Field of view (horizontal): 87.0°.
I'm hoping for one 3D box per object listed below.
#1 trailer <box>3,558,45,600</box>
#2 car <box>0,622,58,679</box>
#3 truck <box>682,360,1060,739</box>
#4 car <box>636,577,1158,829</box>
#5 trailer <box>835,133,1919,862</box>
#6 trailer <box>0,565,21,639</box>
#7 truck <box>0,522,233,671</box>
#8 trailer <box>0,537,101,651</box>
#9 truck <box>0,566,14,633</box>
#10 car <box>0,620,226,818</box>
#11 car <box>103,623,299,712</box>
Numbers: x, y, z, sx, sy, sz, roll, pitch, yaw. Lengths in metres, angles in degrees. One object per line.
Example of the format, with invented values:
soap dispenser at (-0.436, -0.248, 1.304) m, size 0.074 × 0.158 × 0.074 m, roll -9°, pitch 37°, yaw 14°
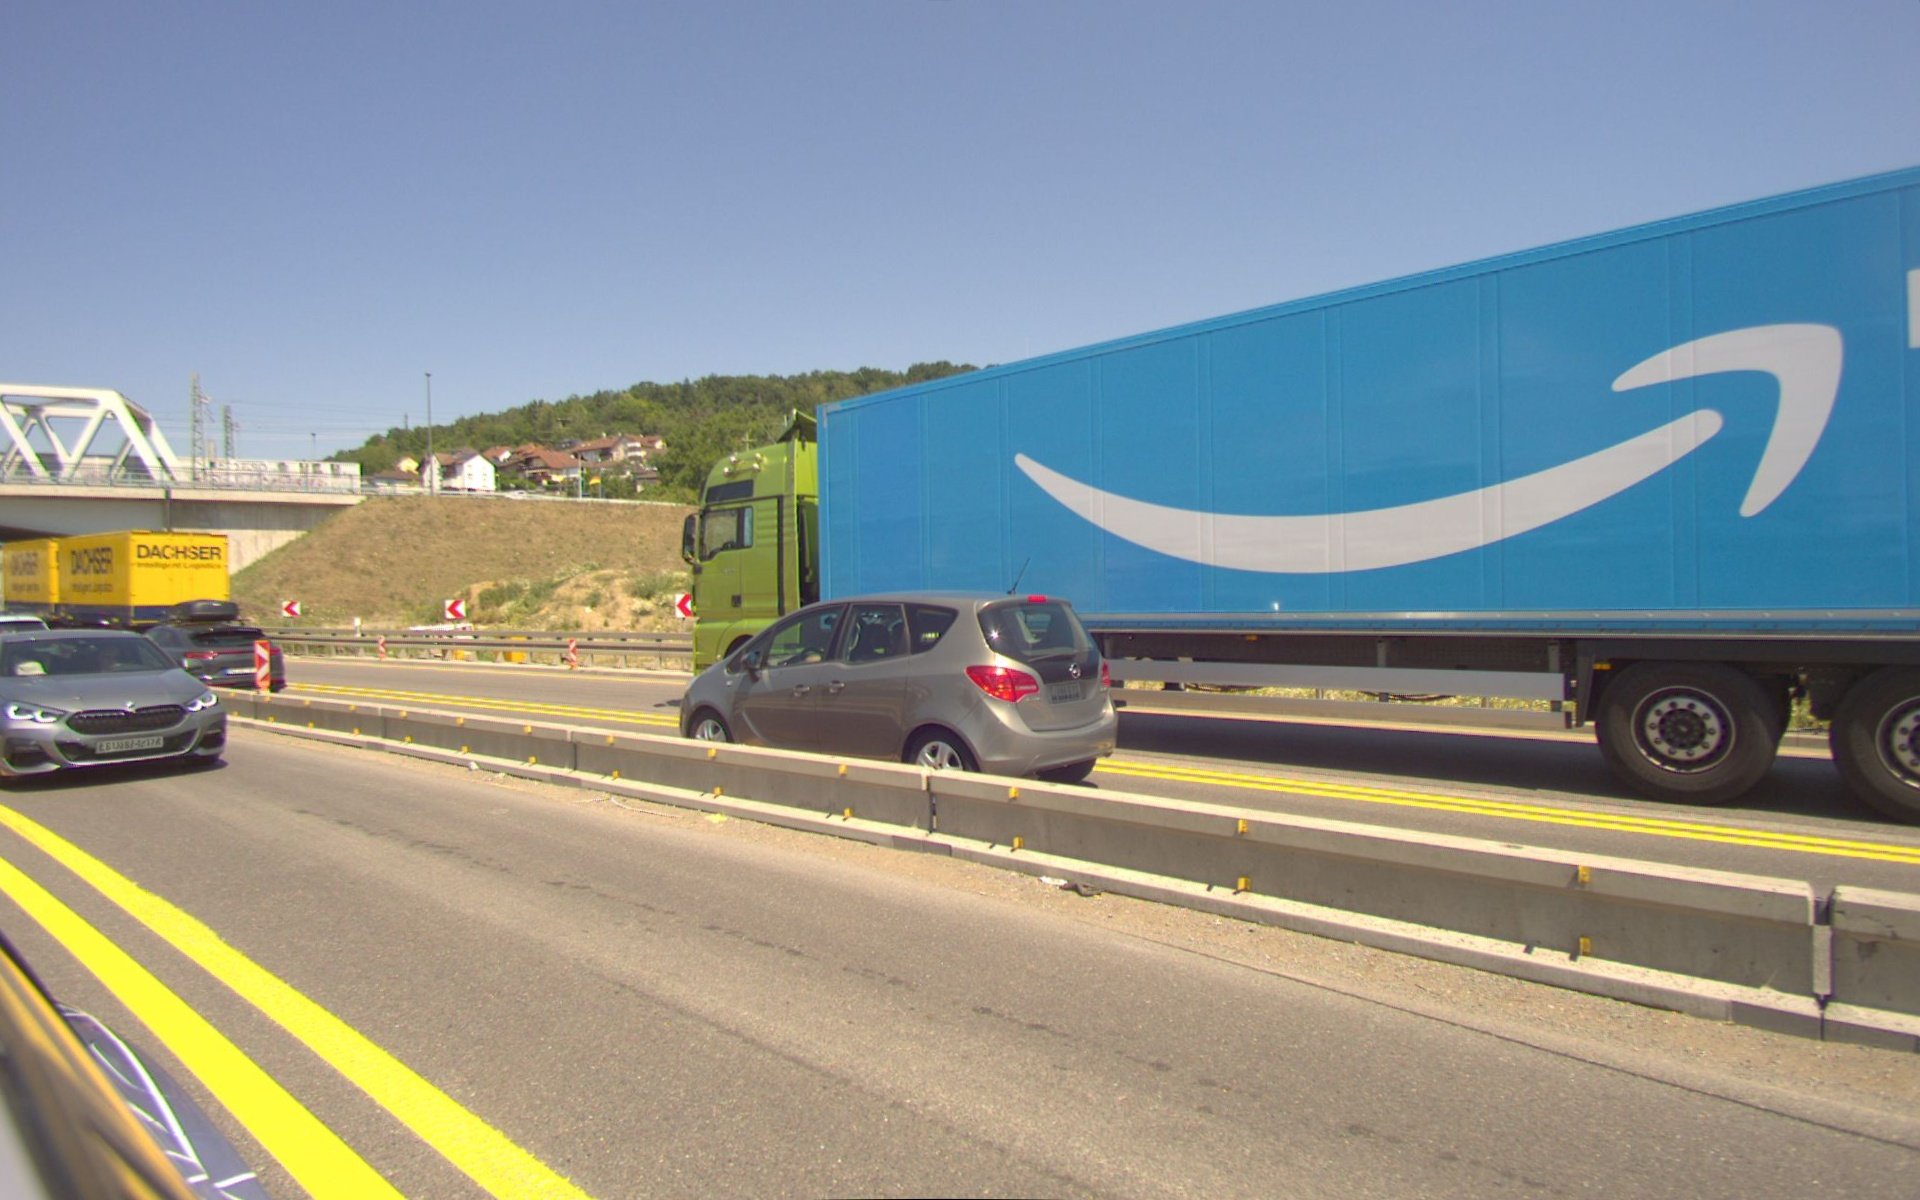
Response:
trailer at (-96.693, -2.237, 104.668) m, size 2.842 × 4.070 × 14.377 m, roll -3°, pitch 3°, yaw -42°
car at (-26.581, 1.390, 28.000) m, size 3.992 × 1.497 × 1.622 m, roll -2°, pitch -2°, yaw 36°
truck at (-1.335, -0.598, 14.031) m, size 4.729 × 4.302 × 2.598 m, roll 0°, pitch 1°, yaw 41°
car at (-0.706, 0.708, 8.486) m, size 4.297 × 1.597 × 1.802 m, roll -2°, pitch -1°, yaw 40°
trailer at (4.271, -0.629, 9.104) m, size 13.307 × 4.324 × 2.619 m, roll 0°, pitch 2°, yaw 42°
trailer at (-53.340, 0.050, 55.306) m, size 10.250 × 3.817 × 2.497 m, roll 1°, pitch 2°, yaw 45°
truck at (-30.074, -0.089, 35.419) m, size 15.342 × 4.375 × 2.782 m, roll 0°, pitch 1°, yaw 36°
trailer at (-36.929, -0.245, 40.459) m, size 5.209 × 4.261 × 2.840 m, roll 0°, pitch 0°, yaw 36°
truck at (-57.441, -0.070, 59.435) m, size 2.505 × 3.850 × 4.953 m, roll -2°, pitch 2°, yaw -45°
car at (-9.362, 1.045, 10.489) m, size 4.385 × 1.609 × 1.815 m, roll -1°, pitch 0°, yaw 40°
car at (-14.594, 1.222, 19.379) m, size 4.575 × 1.446 × 1.804 m, roll -2°, pitch 0°, yaw 37°
